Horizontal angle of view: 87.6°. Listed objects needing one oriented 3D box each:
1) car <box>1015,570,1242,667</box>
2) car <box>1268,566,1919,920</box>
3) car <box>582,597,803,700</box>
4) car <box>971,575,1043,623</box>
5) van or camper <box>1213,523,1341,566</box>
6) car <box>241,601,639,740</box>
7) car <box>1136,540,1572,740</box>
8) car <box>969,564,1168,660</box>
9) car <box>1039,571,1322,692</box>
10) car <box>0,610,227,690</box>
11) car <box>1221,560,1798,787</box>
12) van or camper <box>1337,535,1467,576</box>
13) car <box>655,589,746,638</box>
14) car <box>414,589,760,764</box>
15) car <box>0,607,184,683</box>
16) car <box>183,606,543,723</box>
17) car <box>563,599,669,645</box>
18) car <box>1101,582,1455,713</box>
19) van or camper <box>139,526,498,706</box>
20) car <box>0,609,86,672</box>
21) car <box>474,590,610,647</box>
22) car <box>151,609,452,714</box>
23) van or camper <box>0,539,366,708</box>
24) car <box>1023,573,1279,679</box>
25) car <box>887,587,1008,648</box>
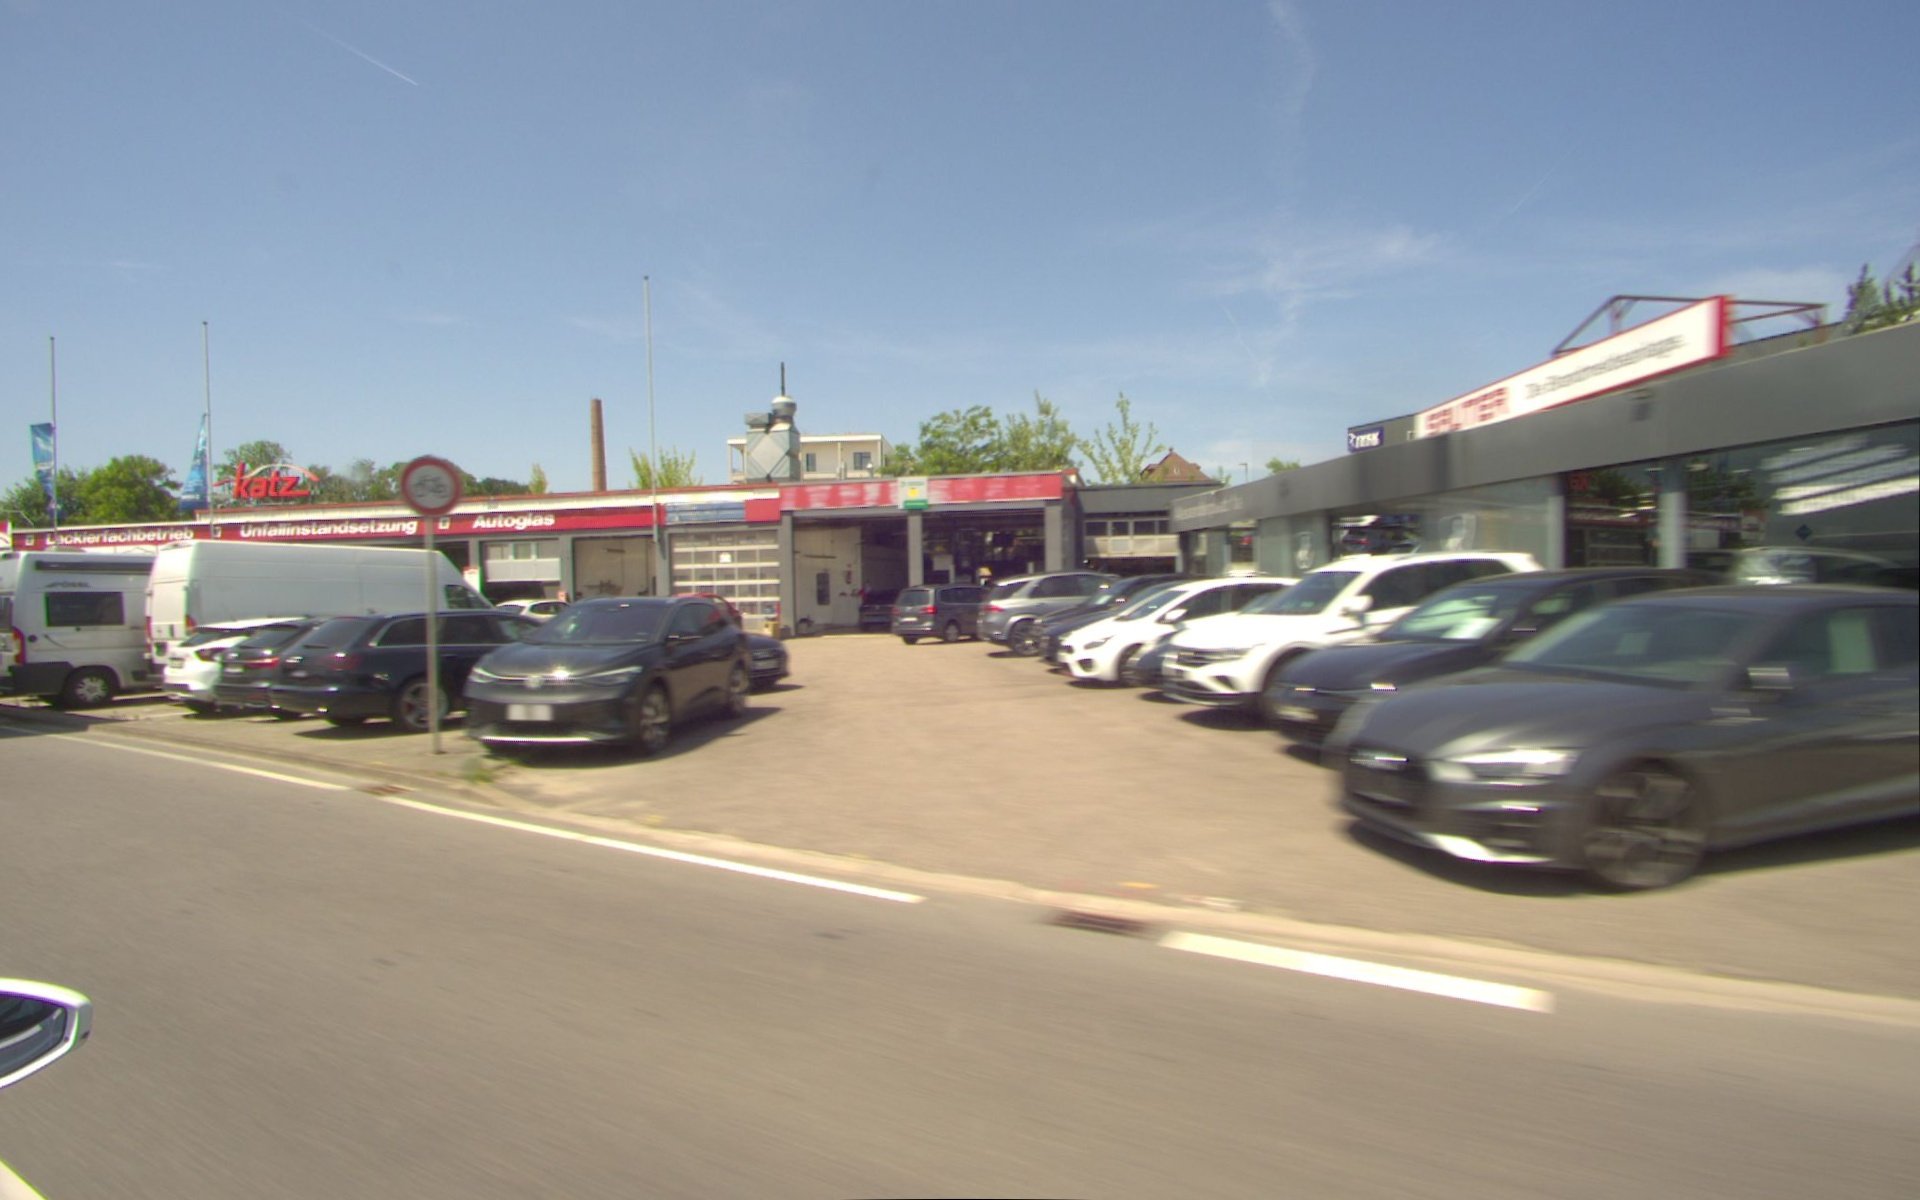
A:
[{"bbox_3d":[3.346,0.325,20.230,4.071,1.589,1.852,-4,2,-11],"label":"car"},{"bbox_3d":[4.596,0.628,6.079,4.842,1.406,1.925,-4,2,-11],"label":"car"},{"bbox_3d":[-4.799,0.770,17.610,4.337,1.548,1.798,-1,1,45],"label":"car"},{"bbox_3d":[1.765,-0.010,36.517,1.878,1.639,3.996,-1,0,14],"label":"car"},{"bbox_3d":[11.201,-1.965,35.564,3.922,1.375,1.857,0,-1,-4],"label":"van or camper"},{"bbox_3d":[-6.690,0.806,13.400,2.051,1.519,4.319,-1,-1,31],"label":"car"},{"bbox_3d":[4.246,0.351,11.047,4.071,1.737,1.852,-4,2,-11],"label":"car"},{"bbox_3d":[2.373,0.240,22.543,4.068,1.813,1.967,-4,2,-5],"label":"car"},{"bbox_3d":[3.367,0.432,15.537,3.867,1.504,1.730,-4,2,-11],"label":"car"},{"bbox_3d":[-19.118,1.039,22.030,1.758,1.539,4.501,-1,0,34],"label":"car"},{"bbox_3d":[4.590,0.509,8.612,4.088,1.439,1.852,-4,2,-11],"label":"car"},{"bbox_3d":[16.002,-1.597,36.370,3.922,1.375,1.857,0,-1,-4],"label":"van or camper"},{"bbox_3d":[-8.104,0.455,31.604,1.645,1.468,3.600,0,-1,6],"label":"car"},{"bbox_3d":[-3.998,0.717,11.697,2.022,1.646,4.338,-1,1,6],"label":"car"},{"bbox_3d":[-21.352,1.038,23.661,2.133,1.433,4.250,-1,3,33],"label":"car"},{"bbox_3d":[-8.933,0.871,15.377,2.051,1.519,4.319,-1,-1,31],"label":"car"},{"bbox_3d":[-10.948,0.703,32.094,1.646,1.392,3.599,0,-1,11],"label":"car"},{"bbox_3d":[4.150,0.550,13.326,4.071,1.329,1.852,-4,2,-11],"label":"car"},{"bbox_3d":[-12.017,0.270,19.198,2.202,2.944,5.352,0,0,35],"label":"van or camper"},{"bbox_3d":[-25.649,1.134,25.969,1.948,1.502,4.004,-1,3,27],"label":"car"},{"bbox_3d":[-13.467,0.555,32.528,1.822,1.596,3.989,-1,3,19],"label":"car"},{"bbox_3d":[-10.811,0.920,16.664,1.830,1.519,3.797,-1,-1,36],"label":"car"},{"bbox_3d":[-14.848,0.394,19.268,2.202,2.766,5.459,0,0,35],"label":"van or camper"},{"bbox_3d":[3.368,0.410,17.972,4.071,1.518,1.852,-4,2,-11],"label":"car"},{"bbox_3d":[-0.331,0.463,29.818,1.657,1.602,3.570,3,3,40],"label":"car"}]
